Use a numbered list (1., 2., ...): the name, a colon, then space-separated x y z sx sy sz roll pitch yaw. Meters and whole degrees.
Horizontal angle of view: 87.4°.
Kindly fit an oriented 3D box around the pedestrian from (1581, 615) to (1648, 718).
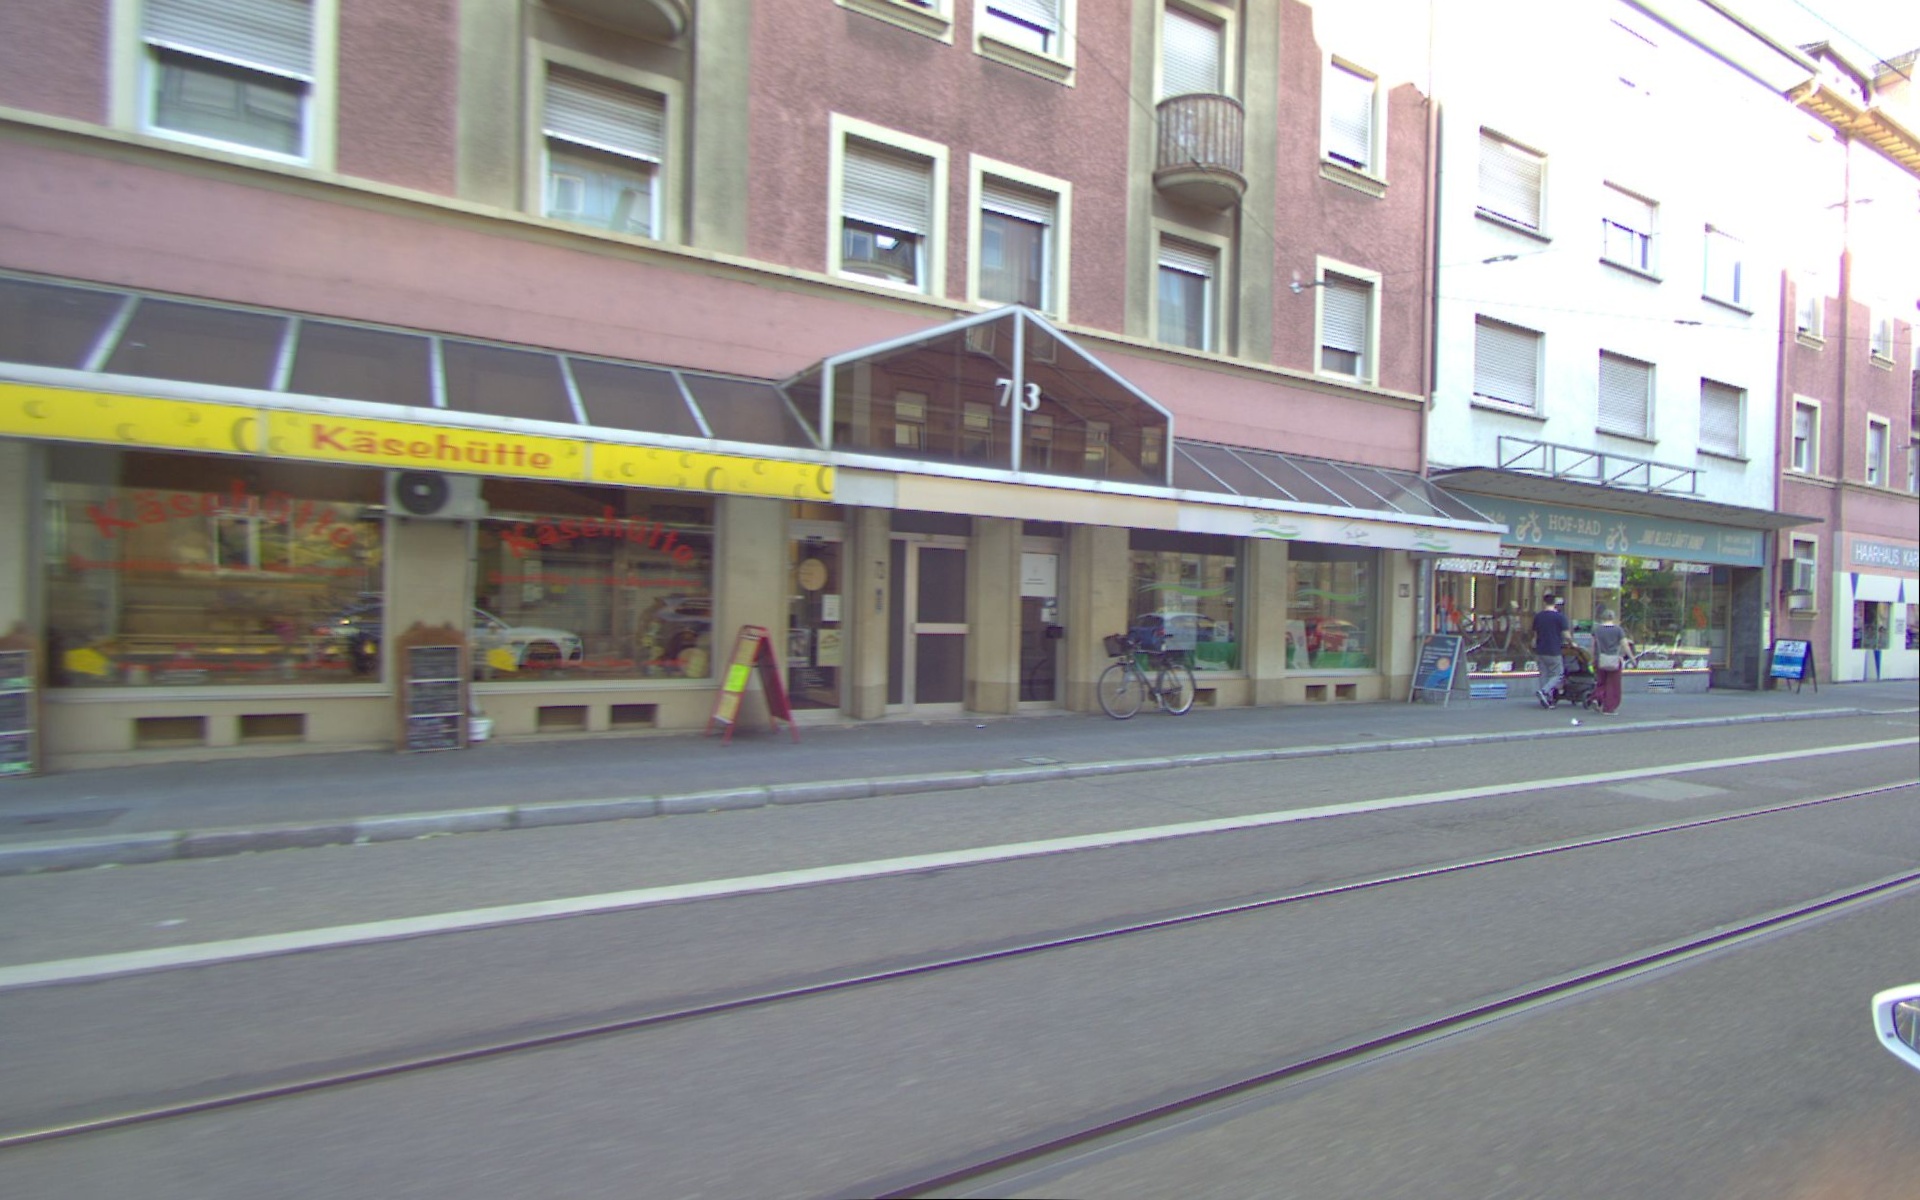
1. pedestrian: 10.359 1.040 15.904 0.616 1.569 0.633 2 0 -30

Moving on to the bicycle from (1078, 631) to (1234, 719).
1. bicycle: 2.611 0.971 13.217 2.303 1.074 0.422 2 0 -31

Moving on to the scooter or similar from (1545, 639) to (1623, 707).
1. scooter or similar: 10.426 1.204 16.785 1.092 1.075 0.658 1 1 -30

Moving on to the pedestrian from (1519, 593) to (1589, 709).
1. pedestrian: 9.617 0.818 16.269 0.811 1.813 0.622 2 0 -31
